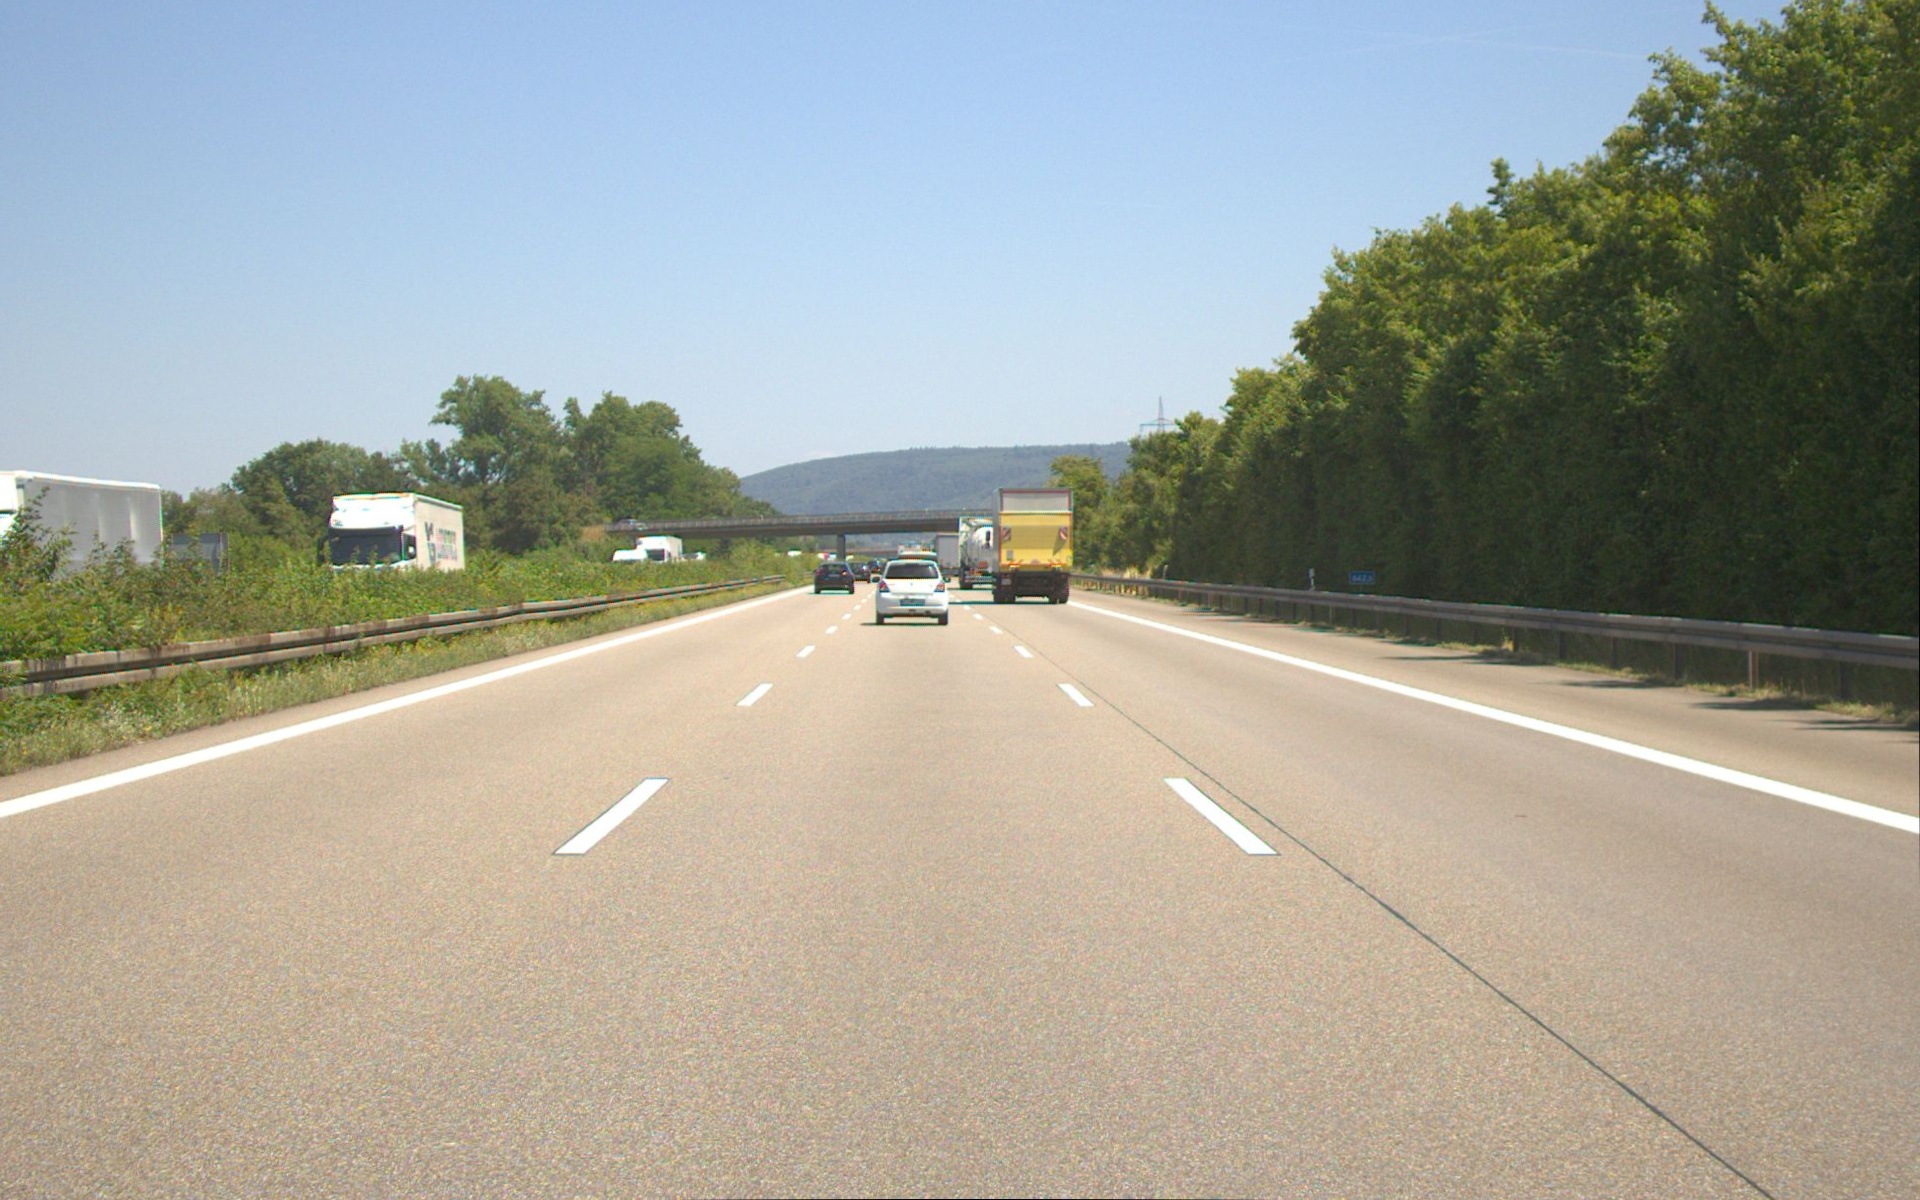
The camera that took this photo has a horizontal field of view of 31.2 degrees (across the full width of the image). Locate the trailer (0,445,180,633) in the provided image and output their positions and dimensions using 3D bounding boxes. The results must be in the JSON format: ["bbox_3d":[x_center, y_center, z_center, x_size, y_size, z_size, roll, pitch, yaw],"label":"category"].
[{"bbox_3d":[-21.506,-1.400,81.306,2.955,4.044,14.326,1,1,-1],"label":"trailer"}]

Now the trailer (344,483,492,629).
[{"bbox_3d":[-17.949,-1.448,114.734,2.821,4.511,13.867,1,1,-1],"label":"trailer"}]

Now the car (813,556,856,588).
[{"bbox_3d":[-5.677,-1.285,155.778,1.835,1.382,4.000,1,1,-1],"label":"car"}]

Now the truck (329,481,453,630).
[{"bbox_3d":[-17.876,-1.383,108.324,2.821,4.511,6.539,1,1,-1],"label":"truck"}]

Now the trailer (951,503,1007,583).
[{"bbox_3d":[0.956,-2.979,182.748,2.580,4.060,11.104,1,1,-1],"label":"trailer"}]

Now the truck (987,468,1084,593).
[{"bbox_3d":[2.604,-2.412,122.291,2.933,4.185,10.682,1,1,-1],"label":"truck"}]

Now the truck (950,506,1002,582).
[{"bbox_3d":[0.846,-3.026,188.093,2.573,4.058,6.393,1,1,-1],"label":"truck"}]

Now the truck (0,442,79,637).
[{"bbox_3d":[-21.433,-1.320,74.621,2.951,4.049,6.539,1,1,-1],"label":"truck"}]

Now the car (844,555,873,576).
[{"bbox_3d":[-6.815,-2.322,230.869,1.835,1.382,4.000,1,1,-1],"label":"car"}]

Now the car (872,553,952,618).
[{"bbox_3d":[-1.124,-0.345,80.836,1.806,1.463,4.000,1,1,-1],"label":"car"}]
